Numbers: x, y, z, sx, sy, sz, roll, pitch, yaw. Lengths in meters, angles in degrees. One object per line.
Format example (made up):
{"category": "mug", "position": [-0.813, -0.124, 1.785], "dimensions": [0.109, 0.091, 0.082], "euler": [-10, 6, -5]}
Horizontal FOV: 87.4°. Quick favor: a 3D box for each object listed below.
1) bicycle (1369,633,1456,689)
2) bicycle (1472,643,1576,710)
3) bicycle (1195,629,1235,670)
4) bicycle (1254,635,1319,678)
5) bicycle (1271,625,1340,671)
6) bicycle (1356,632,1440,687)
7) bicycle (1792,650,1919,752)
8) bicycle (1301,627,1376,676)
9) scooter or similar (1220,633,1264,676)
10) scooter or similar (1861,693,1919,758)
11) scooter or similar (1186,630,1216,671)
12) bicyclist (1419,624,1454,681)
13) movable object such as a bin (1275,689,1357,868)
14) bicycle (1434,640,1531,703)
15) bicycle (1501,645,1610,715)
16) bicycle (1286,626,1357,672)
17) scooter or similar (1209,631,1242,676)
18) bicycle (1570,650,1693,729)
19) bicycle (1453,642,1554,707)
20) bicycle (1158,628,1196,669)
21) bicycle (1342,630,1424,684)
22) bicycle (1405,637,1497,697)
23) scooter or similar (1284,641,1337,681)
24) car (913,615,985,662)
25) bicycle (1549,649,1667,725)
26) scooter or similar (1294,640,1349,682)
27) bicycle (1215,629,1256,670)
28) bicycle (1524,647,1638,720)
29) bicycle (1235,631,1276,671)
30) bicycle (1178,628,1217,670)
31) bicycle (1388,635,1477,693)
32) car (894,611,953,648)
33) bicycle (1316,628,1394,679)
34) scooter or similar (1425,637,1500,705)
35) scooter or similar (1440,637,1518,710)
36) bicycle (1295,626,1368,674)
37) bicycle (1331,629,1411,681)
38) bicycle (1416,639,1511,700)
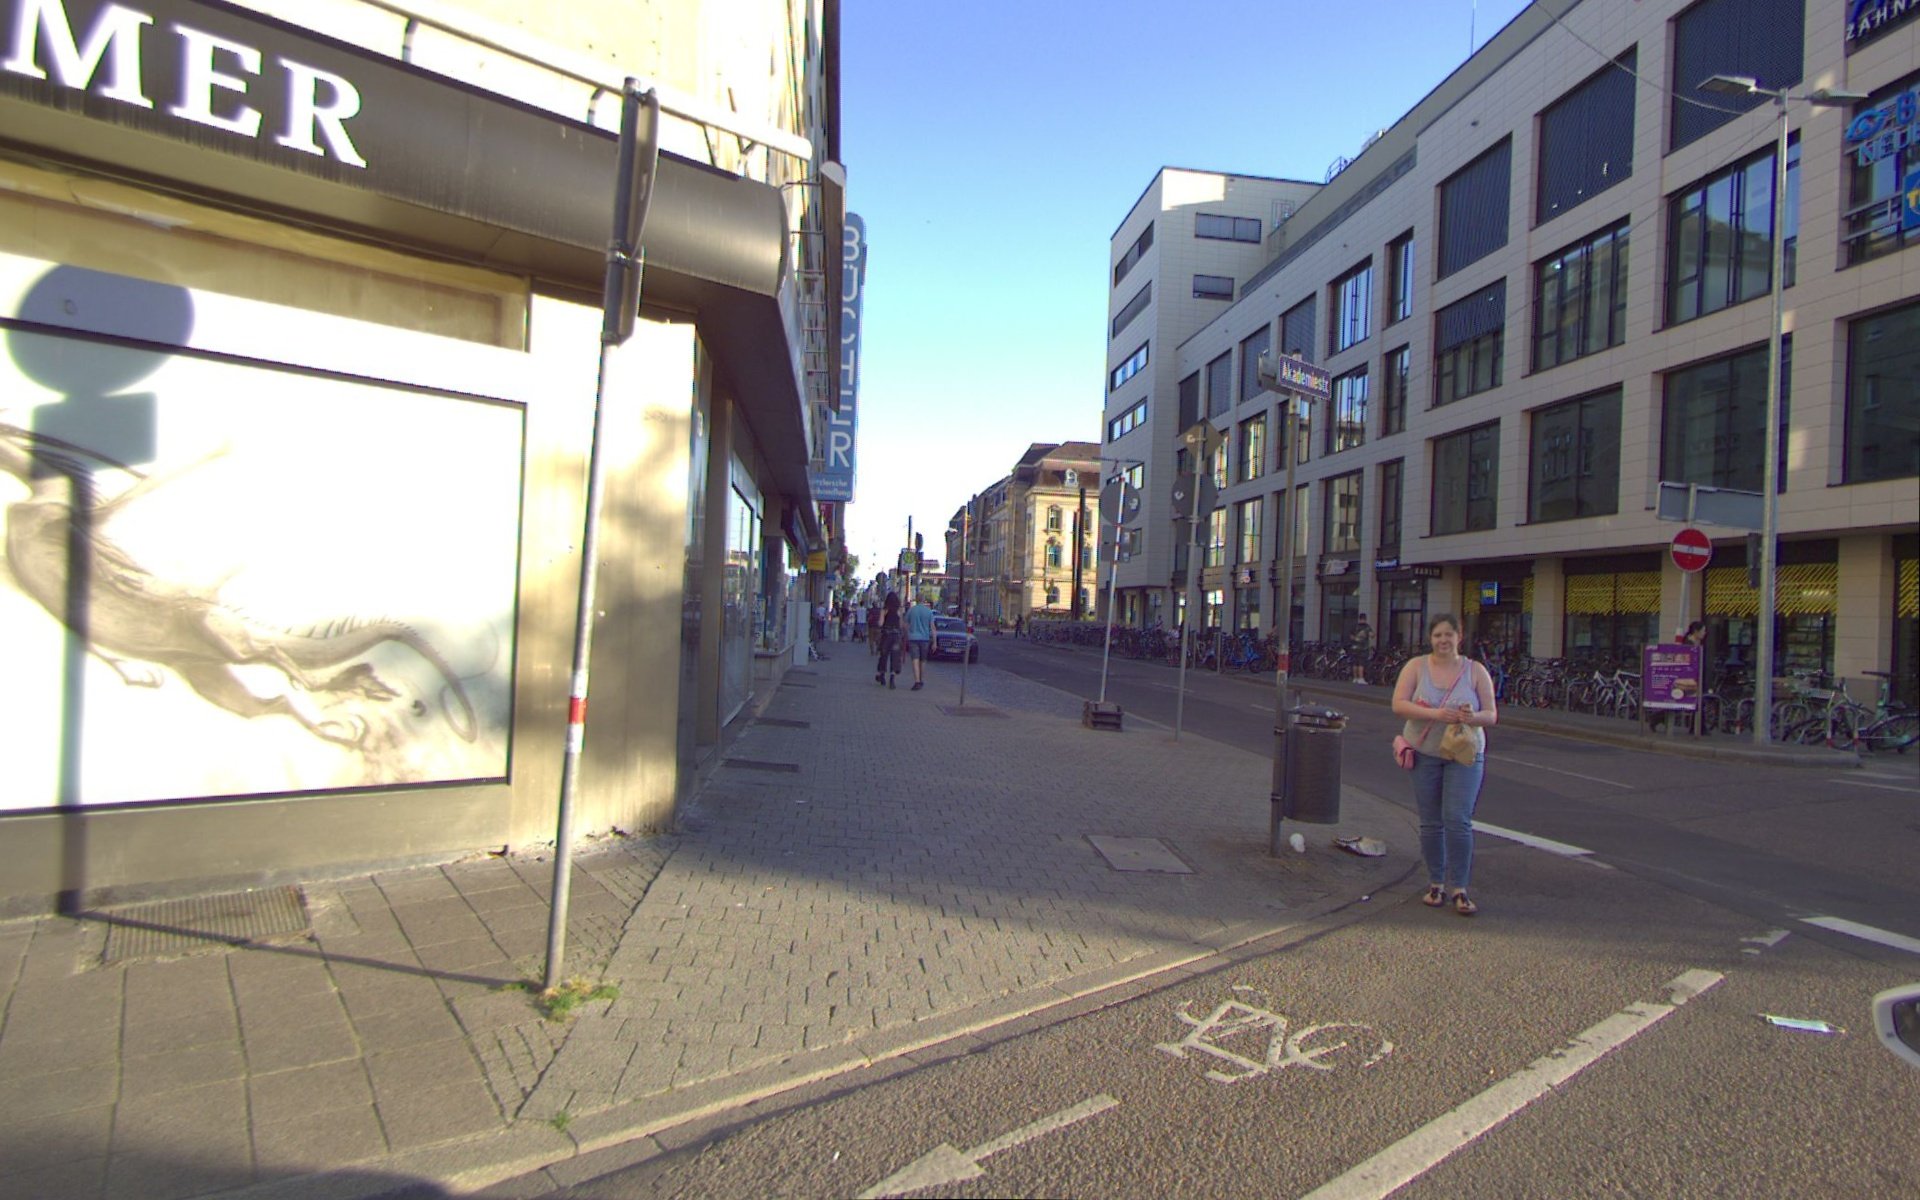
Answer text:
{"category": "bicycle", "position": [11.243, 1.521, 24.970], "dimensions": [1.943, 1.271, 0.512], "euler": [3, 0, -9]}
{"category": "bicycle", "position": [11.725, 1.591, 20.886], "dimensions": [1.944, 1.271, 0.512], "euler": [3, 0, -11]}
{"category": "bicycle", "position": [8.694, 1.682, 34.265], "dimensions": [0.504, 1.271, 1.975], "euler": [3, 0, -9]}
{"category": "bicycle", "position": [10.554, 1.837, 32.492], "dimensions": [1.943, 1.271, 0.512], "euler": [3, 0, -9]}
{"category": "bicycle", "position": [10.596, 1.473, 30.836], "dimensions": [1.943, 1.271, 0.512], "euler": [3, 0, -9]}
{"category": "bicycle", "position": [11.143, 1.517, 25.562], "dimensions": [1.943, 1.271, 0.512], "euler": [3, 0, -9]}
{"category": "bicycle", "position": [12.693, 1.399, 13.845], "dimensions": [2.103, 1.271, 0.664], "euler": [3, 0, -11]}
{"category": "bicycle", "position": [10.747, 1.473, 28.545], "dimensions": [1.943, 1.271, 0.512], "euler": [3, 0, -9]}
{"category": "scooter or similar", "position": [8.848, 1.709, 31.528], "dimensions": [1.248, 1.259, 0.387], "euler": [3, 0, -9]}
{"category": "scooter or similar", "position": [13.891, 1.859, 14.873], "dimensions": [0.756, 0.896, 0.387], "euler": [3, 0, -9]}
{"category": "scooter or similar", "position": [7.613, 1.586, 31.767], "dimensions": [0.506, 1.196, 1.270], "euler": [3, 0, -4]}
{"category": "bicyclist", "position": [14.792, 1.615, 31.176], "dimensions": [0.672, 1.718, 0.643], "euler": [2, 0, -7]}
{"category": "movable object such as a bin", "position": [2.316, 1.136, 6.533], "dimensions": [0.355, 1.078, 0.354], "euler": [2, 0, 41]}
{"category": "bicycle", "position": [11.597, 1.581, 22.297], "dimensions": [1.943, 1.271, 0.512], "euler": [3, 0, -9]}
{"category": "bicycle", "position": [11.898, 1.598, 20.067], "dimensions": [1.943, 1.271, 0.512], "euler": [3, 0, -9]}
{"category": "bicycle", "position": [10.838, 1.470, 30.144], "dimensions": [1.943, 1.271, 0.512], "euler": [3, 0, -9]}
{"category": "scooter or similar", "position": [7.865, 1.575, 29.762], "dimensions": [0.506, 1.259, 1.270], "euler": [3, 0, -4]}
{"category": "bicycle", "position": [12.035, 1.601, 18.014], "dimensions": [1.943, 1.271, 0.512], "euler": [3, 0, -9]}
{"category": "bicycle", "position": [11.629, 1.587, 21.510], "dimensions": [1.943, 1.271, 0.512], "euler": [3, 0, -9]}
{"category": "bicycle", "position": [7.337, 1.629, 33.976], "dimensions": [0.504, 1.271, 1.975], "euler": [3, 0, -9]}
{"category": "bicycle", "position": [11.018, 1.480, 26.180], "dimensions": [1.943, 1.271, 0.512], "euler": [3, 0, -9]}
{"category": "bicycle", "position": [11.510, 1.565, 23.569], "dimensions": [1.943, 1.271, 0.512], "euler": [3, 0, -9]}
{"category": "scooter or similar", "position": [9.328, 1.621, 26.721], "dimensions": [1.248, 0.954, 0.387], "euler": [3, 0, -9]}
{"category": "car", "position": [-0.439, 1.289, 34.492], "dimensions": [1.830, 1.409, 3.993], "euler": [2, 0, -10]}
{"category": "bicycle", "position": [11.989, 1.609, 18.585], "dimensions": [1.943, 1.271, 0.512], "euler": [3, 0, -9]}
{"category": "scooter or similar", "position": [9.369, 1.587, 26.043], "dimensions": [1.248, 1.005, 0.387], "euler": [3, 0, -9]}
{"category": "bicycle", "position": [9.406, 1.686, 34.345], "dimensions": [0.504, 1.271, 1.975], "euler": [3, 0, -9]}
{"category": "bicycle", "position": [11.920, 1.606, 19.299], "dimensions": [1.943, 1.271, 0.512], "euler": [3, 0, -9]}
{"category": "bicycle", "position": [10.125, 1.733, 34.481], "dimensions": [0.504, 1.271, 1.975], "euler": [3, 0, -9]}
{"category": "bicycle", "position": [8.062, 1.649, 34.124], "dimensions": [0.504, 1.271, 1.975], "euler": [3, 0, -9]}
{"category": "bicycle", "position": [11.397, 1.546, 24.242], "dimensions": [1.943, 1.271, 0.512], "euler": [3, 0, -9]}
{"category": "car", "position": [-1.611, 1.209, 42.717], "dimensions": [1.830, 1.409, 4.614], "euler": [2, 0, -10]}
{"category": "bicycle", "position": [10.937, 1.474, 27.818], "dimensions": [1.943, 1.271, 0.512], "euler": [3, 0, -9]}
{"category": "scooter or similar", "position": [9.632, 1.356, 19.258], "dimensions": [1.248, 1.228, 0.387], "euler": [3, 0, -9]}
{"category": "scooter or similar", "position": [9.646, 1.364, 18.669], "dimensions": [1.248, 1.277, 0.387], "euler": [3, 0, -9]}
{"category": "bicycle", "position": [10.806, 1.464, 29.236], "dimensions": [1.943, 1.271, 0.512], "euler": [3, 0, -9]}
{"category": "bicycle", "position": [11.042, 1.485, 26.997], "dimensions": [1.943, 1.271, 0.512], "euler": [3, 0, -9]}
{"category": "bicycle", "position": [11.474, 1.576, 22.892], "dimensions": [1.943, 1.271, 0.512], "euler": [3, 0, -9]}
